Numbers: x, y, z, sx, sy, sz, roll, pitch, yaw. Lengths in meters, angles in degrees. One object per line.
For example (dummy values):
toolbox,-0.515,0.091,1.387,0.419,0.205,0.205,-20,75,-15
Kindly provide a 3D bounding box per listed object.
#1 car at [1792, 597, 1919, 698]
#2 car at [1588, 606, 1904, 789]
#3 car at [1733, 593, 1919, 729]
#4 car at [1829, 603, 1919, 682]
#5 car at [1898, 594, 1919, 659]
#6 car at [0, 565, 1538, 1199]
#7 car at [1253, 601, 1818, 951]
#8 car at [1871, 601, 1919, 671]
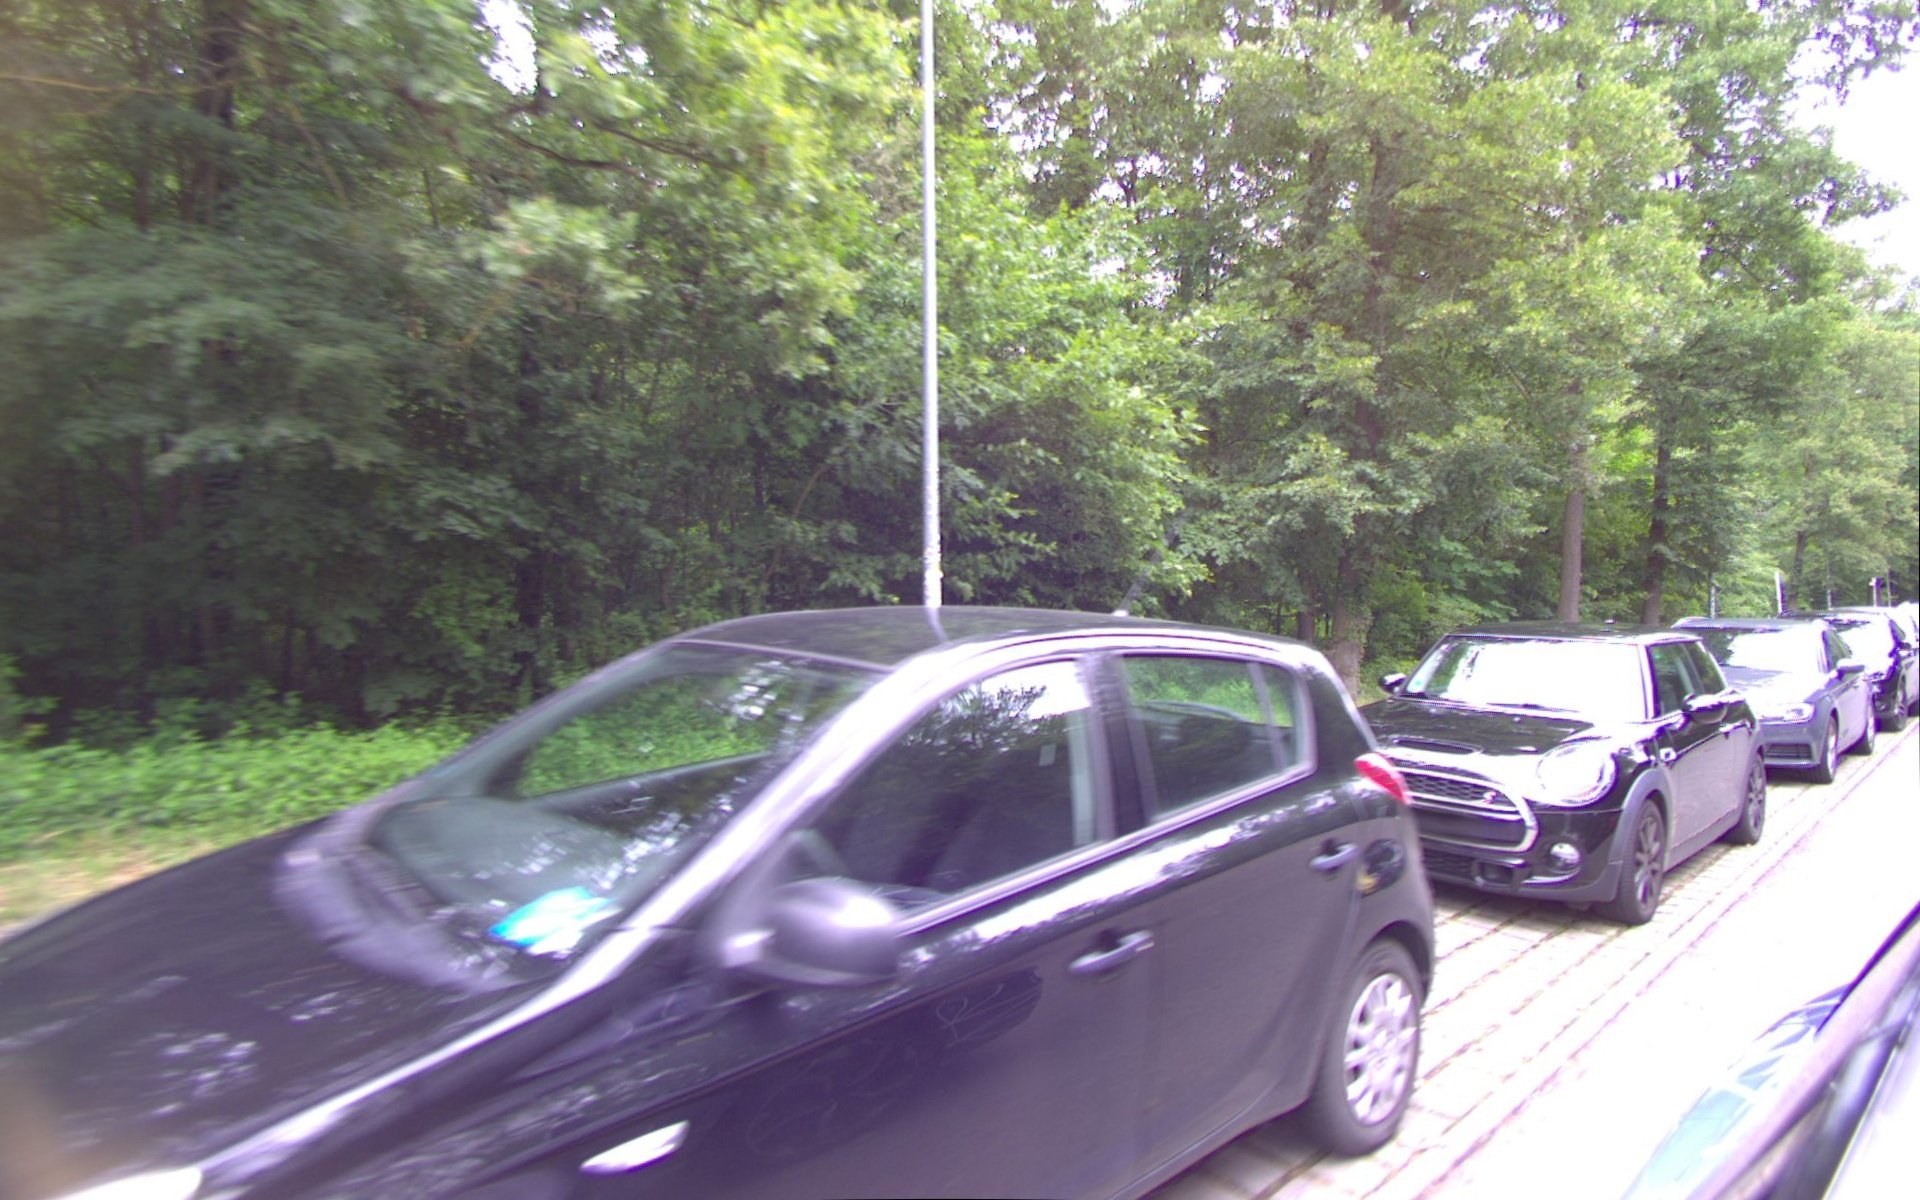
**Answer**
car,15.976,0.746,17.722,3.942,1.588,1.737,0,0,-44
car,8.111,0.795,10.289,4.423,1.450,1.739,0,0,-41
car,12.334,0.718,14.088,4.307,1.609,1.738,0,0,-42
car,18.957,0.786,20.448,4.085,1.443,1.737,0,0,-44
car,26.790,0.680,27.419,4.988,1.664,1.737,0,0,-44
car,-0.168,0.725,2.720,4.160,1.514,1.739,0,0,-41
car,3.831,0.737,6.350,4.423,1.450,1.739,0,0,-41
car,22.363,0.770,23.319,4.529,1.493,1.737,0,0,-44
